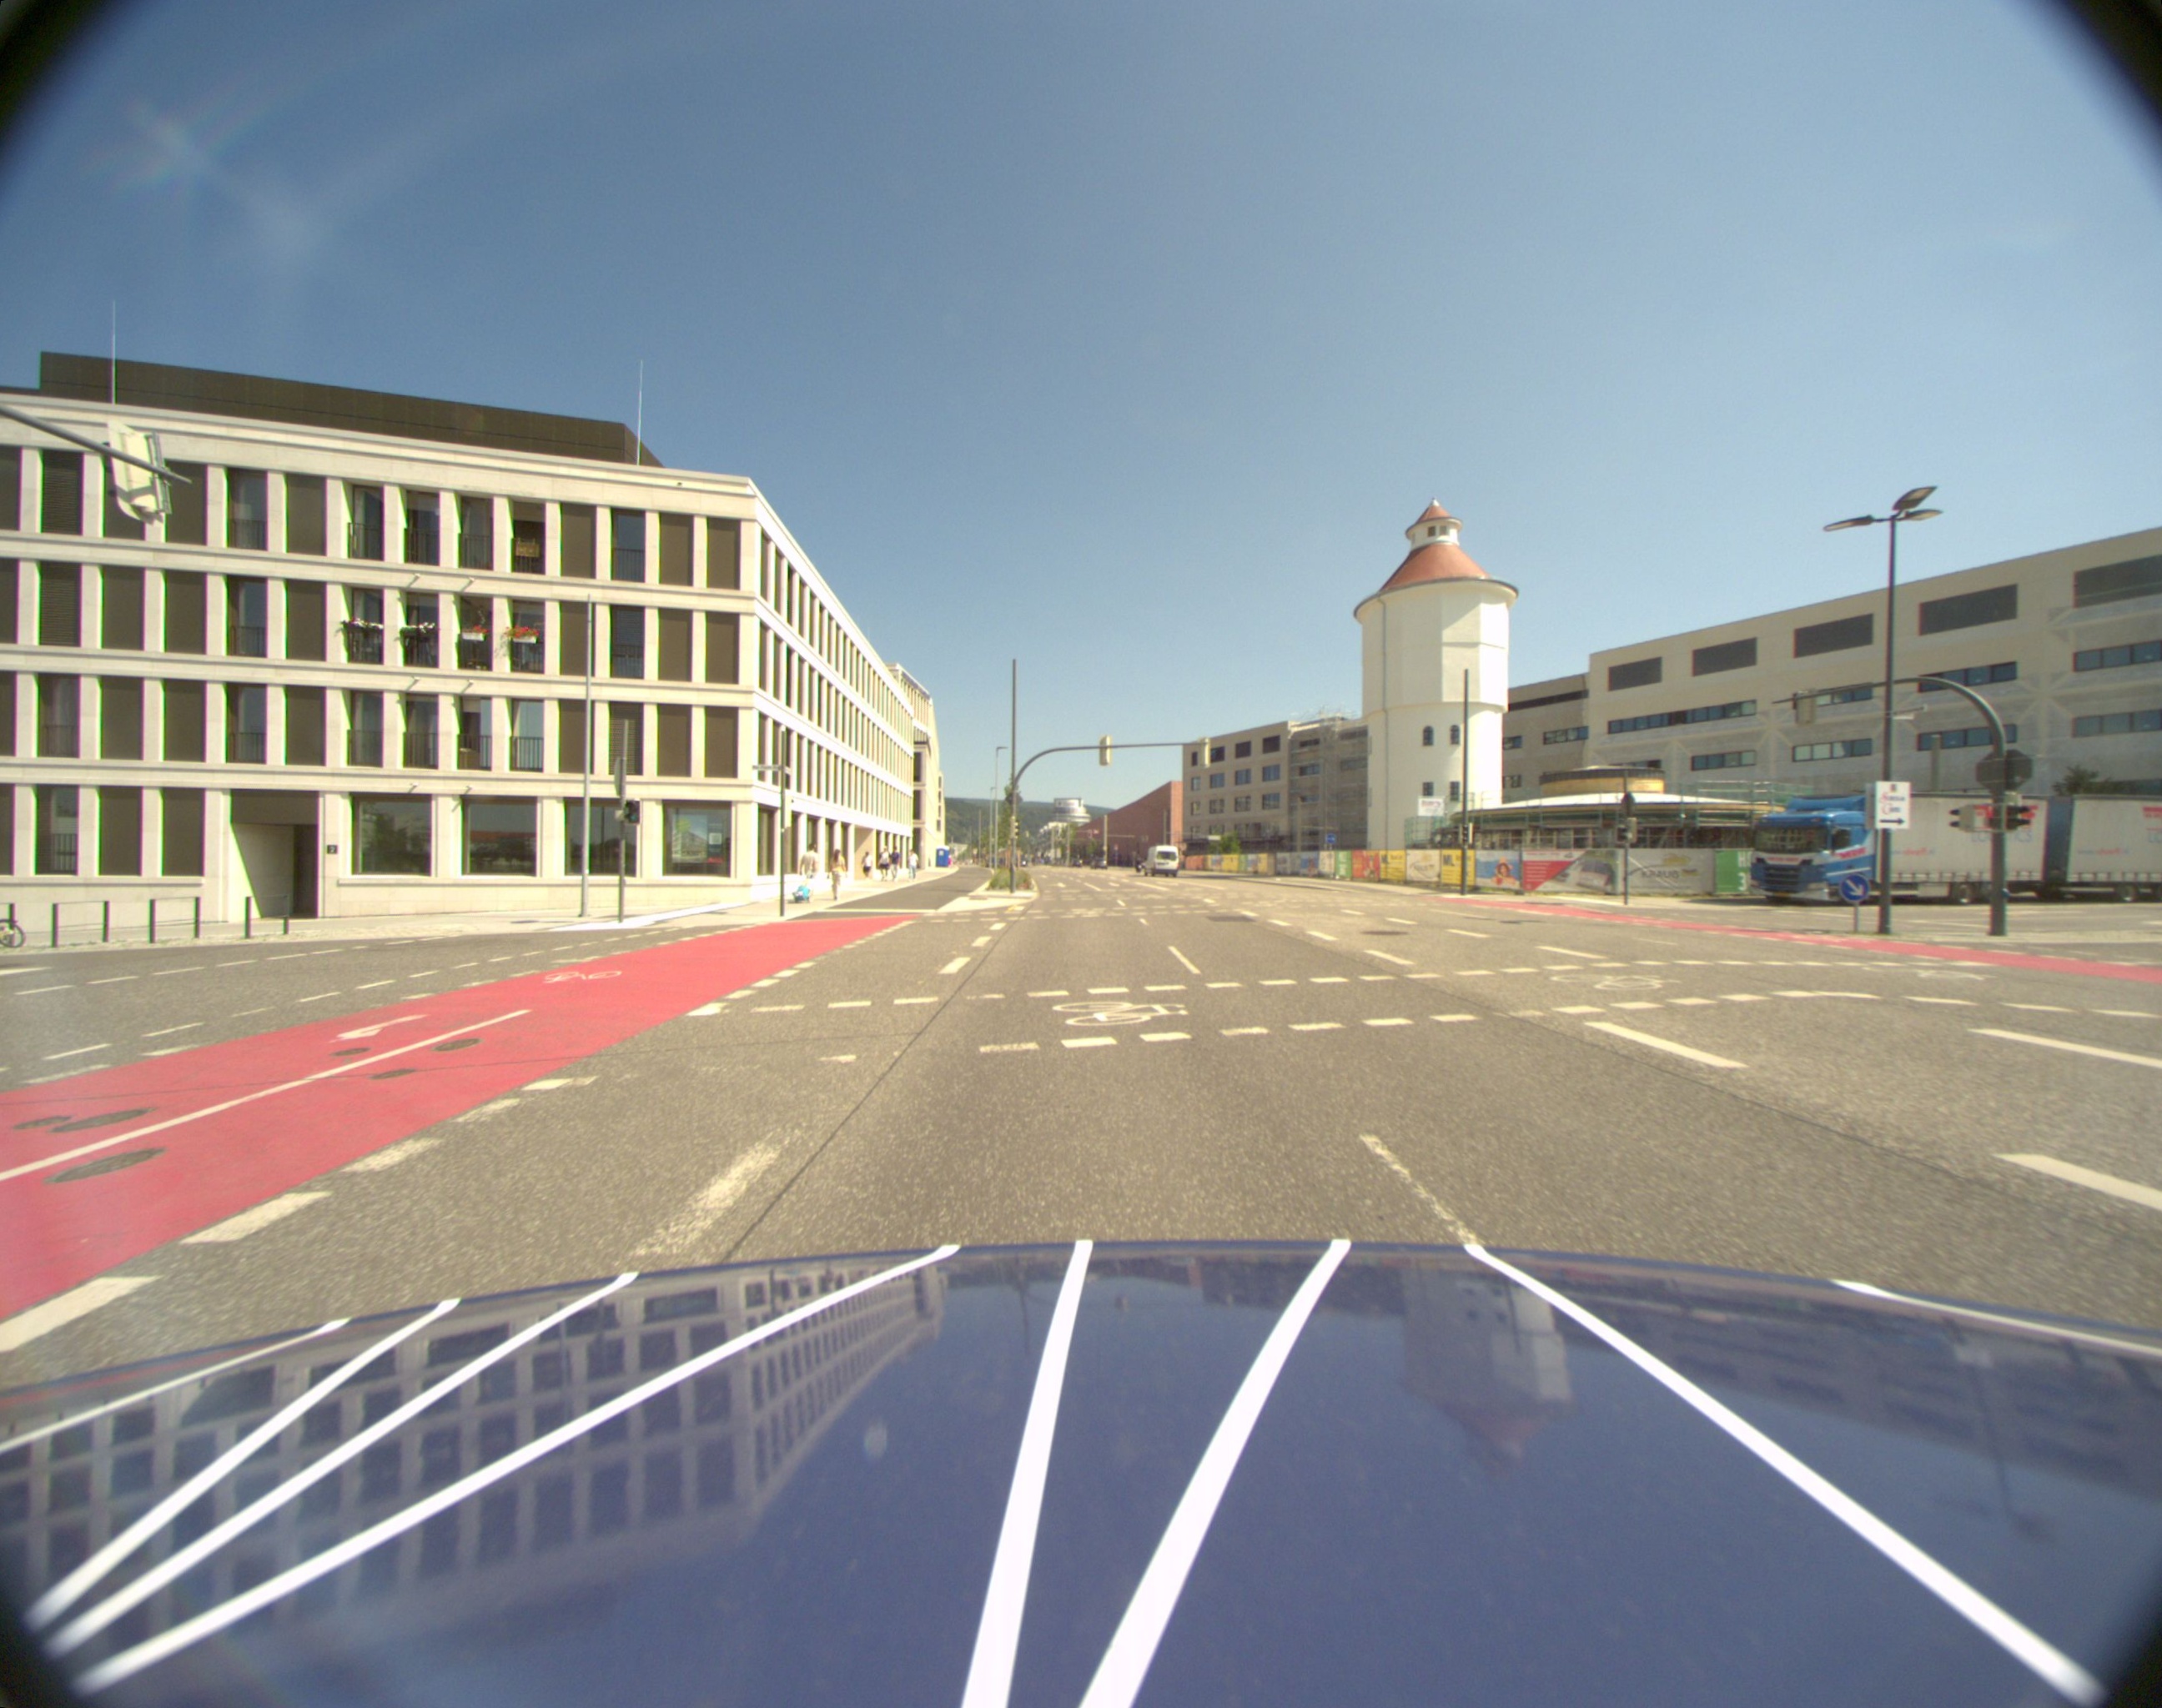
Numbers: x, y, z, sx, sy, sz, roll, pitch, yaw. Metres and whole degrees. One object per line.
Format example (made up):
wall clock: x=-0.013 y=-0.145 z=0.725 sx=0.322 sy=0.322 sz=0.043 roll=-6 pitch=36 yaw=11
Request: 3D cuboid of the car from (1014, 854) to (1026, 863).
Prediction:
car: x=-10.240 y=0.762 z=127.405 sx=1.784 sy=1.552 sz=3.829 roll=-1 pitch=0 yaw=-7

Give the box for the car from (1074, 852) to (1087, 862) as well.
car: x=-0.080 y=0.455 z=122.603 sx=1.935 sy=1.603 sz=3.998 roll=0 pitch=0 yaw=-4

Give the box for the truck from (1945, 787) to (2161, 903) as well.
truck: x=41.235 y=-0.447 z=30.386 sx=10.949 sy=4.251 sz=3.342 roll=-1 pitch=1 yaw=-8

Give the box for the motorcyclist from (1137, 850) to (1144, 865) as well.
motorcyclist: x=6.398 y=0.373 z=82.164 sx=0.621 sy=1.650 sz=0.927 roll=-1 pitch=1 yaw=-3

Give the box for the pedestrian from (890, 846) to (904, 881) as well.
pedestrian: x=-9.607 y=0.489 z=39.728 sx=0.578 sy=1.731 sz=0.996 roll=1 pitch=4 yaw=-4

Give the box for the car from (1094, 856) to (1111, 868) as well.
car: x=3.028 y=1.065 z=106.565 sx=1.803 sy=1.581 sz=3.968 roll=2 pitch=0 yaw=-6

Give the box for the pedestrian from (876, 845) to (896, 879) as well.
pedestrian: x=-10.345 y=0.423 z=40.320 sx=0.827 sy=1.773 sz=0.926 roll=1 pitch=1 yaw=-4

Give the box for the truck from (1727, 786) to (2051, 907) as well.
truck: x=30.260 y=-0.368 z=28.537 sx=10.985 sy=4.044 sz=3.298 roll=-1 pitch=1 yaw=-13

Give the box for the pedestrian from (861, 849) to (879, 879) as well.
pedestrian: x=-11.114 y=0.512 z=40.084 sx=0.770 sy=1.557 sz=0.842 roll=1 pitch=1 yaw=-4

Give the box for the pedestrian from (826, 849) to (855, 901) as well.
pedestrian: x=-7.998 y=0.686 z=25.271 sx=0.702 sy=1.714 sz=0.796 roll=1 pitch=1 yaw=-3

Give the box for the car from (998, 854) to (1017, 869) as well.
car: x=-7.704 y=0.803 z=79.748 sx=1.811 sy=1.499 sz=3.998 roll=-1 pitch=0 yaw=-4

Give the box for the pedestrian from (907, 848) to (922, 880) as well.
pedestrian: x=-9.019 y=0.536 z=41.156 sx=0.578 sy=1.710 sz=0.996 roll=2 pitch=1 yaw=-4

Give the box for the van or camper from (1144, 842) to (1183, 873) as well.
van or camper: x=6.608 y=0.232 z=61.770 sx=2.159 sy=2.400 sz=5.679 roll=2 pitch=1 yaw=-4

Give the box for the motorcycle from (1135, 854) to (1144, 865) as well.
motorcycle: x=6.380 y=0.581 z=82.880 sx=0.585 sy=1.097 sz=2.214 roll=2 pitch=1 yaw=-2

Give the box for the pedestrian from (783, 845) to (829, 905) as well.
pedestrian: x=-8.686 y=0.639 z=24.107 sx=0.880 sy=1.816 sz=1.664 roll=-1 pitch=1 yaw=-3
